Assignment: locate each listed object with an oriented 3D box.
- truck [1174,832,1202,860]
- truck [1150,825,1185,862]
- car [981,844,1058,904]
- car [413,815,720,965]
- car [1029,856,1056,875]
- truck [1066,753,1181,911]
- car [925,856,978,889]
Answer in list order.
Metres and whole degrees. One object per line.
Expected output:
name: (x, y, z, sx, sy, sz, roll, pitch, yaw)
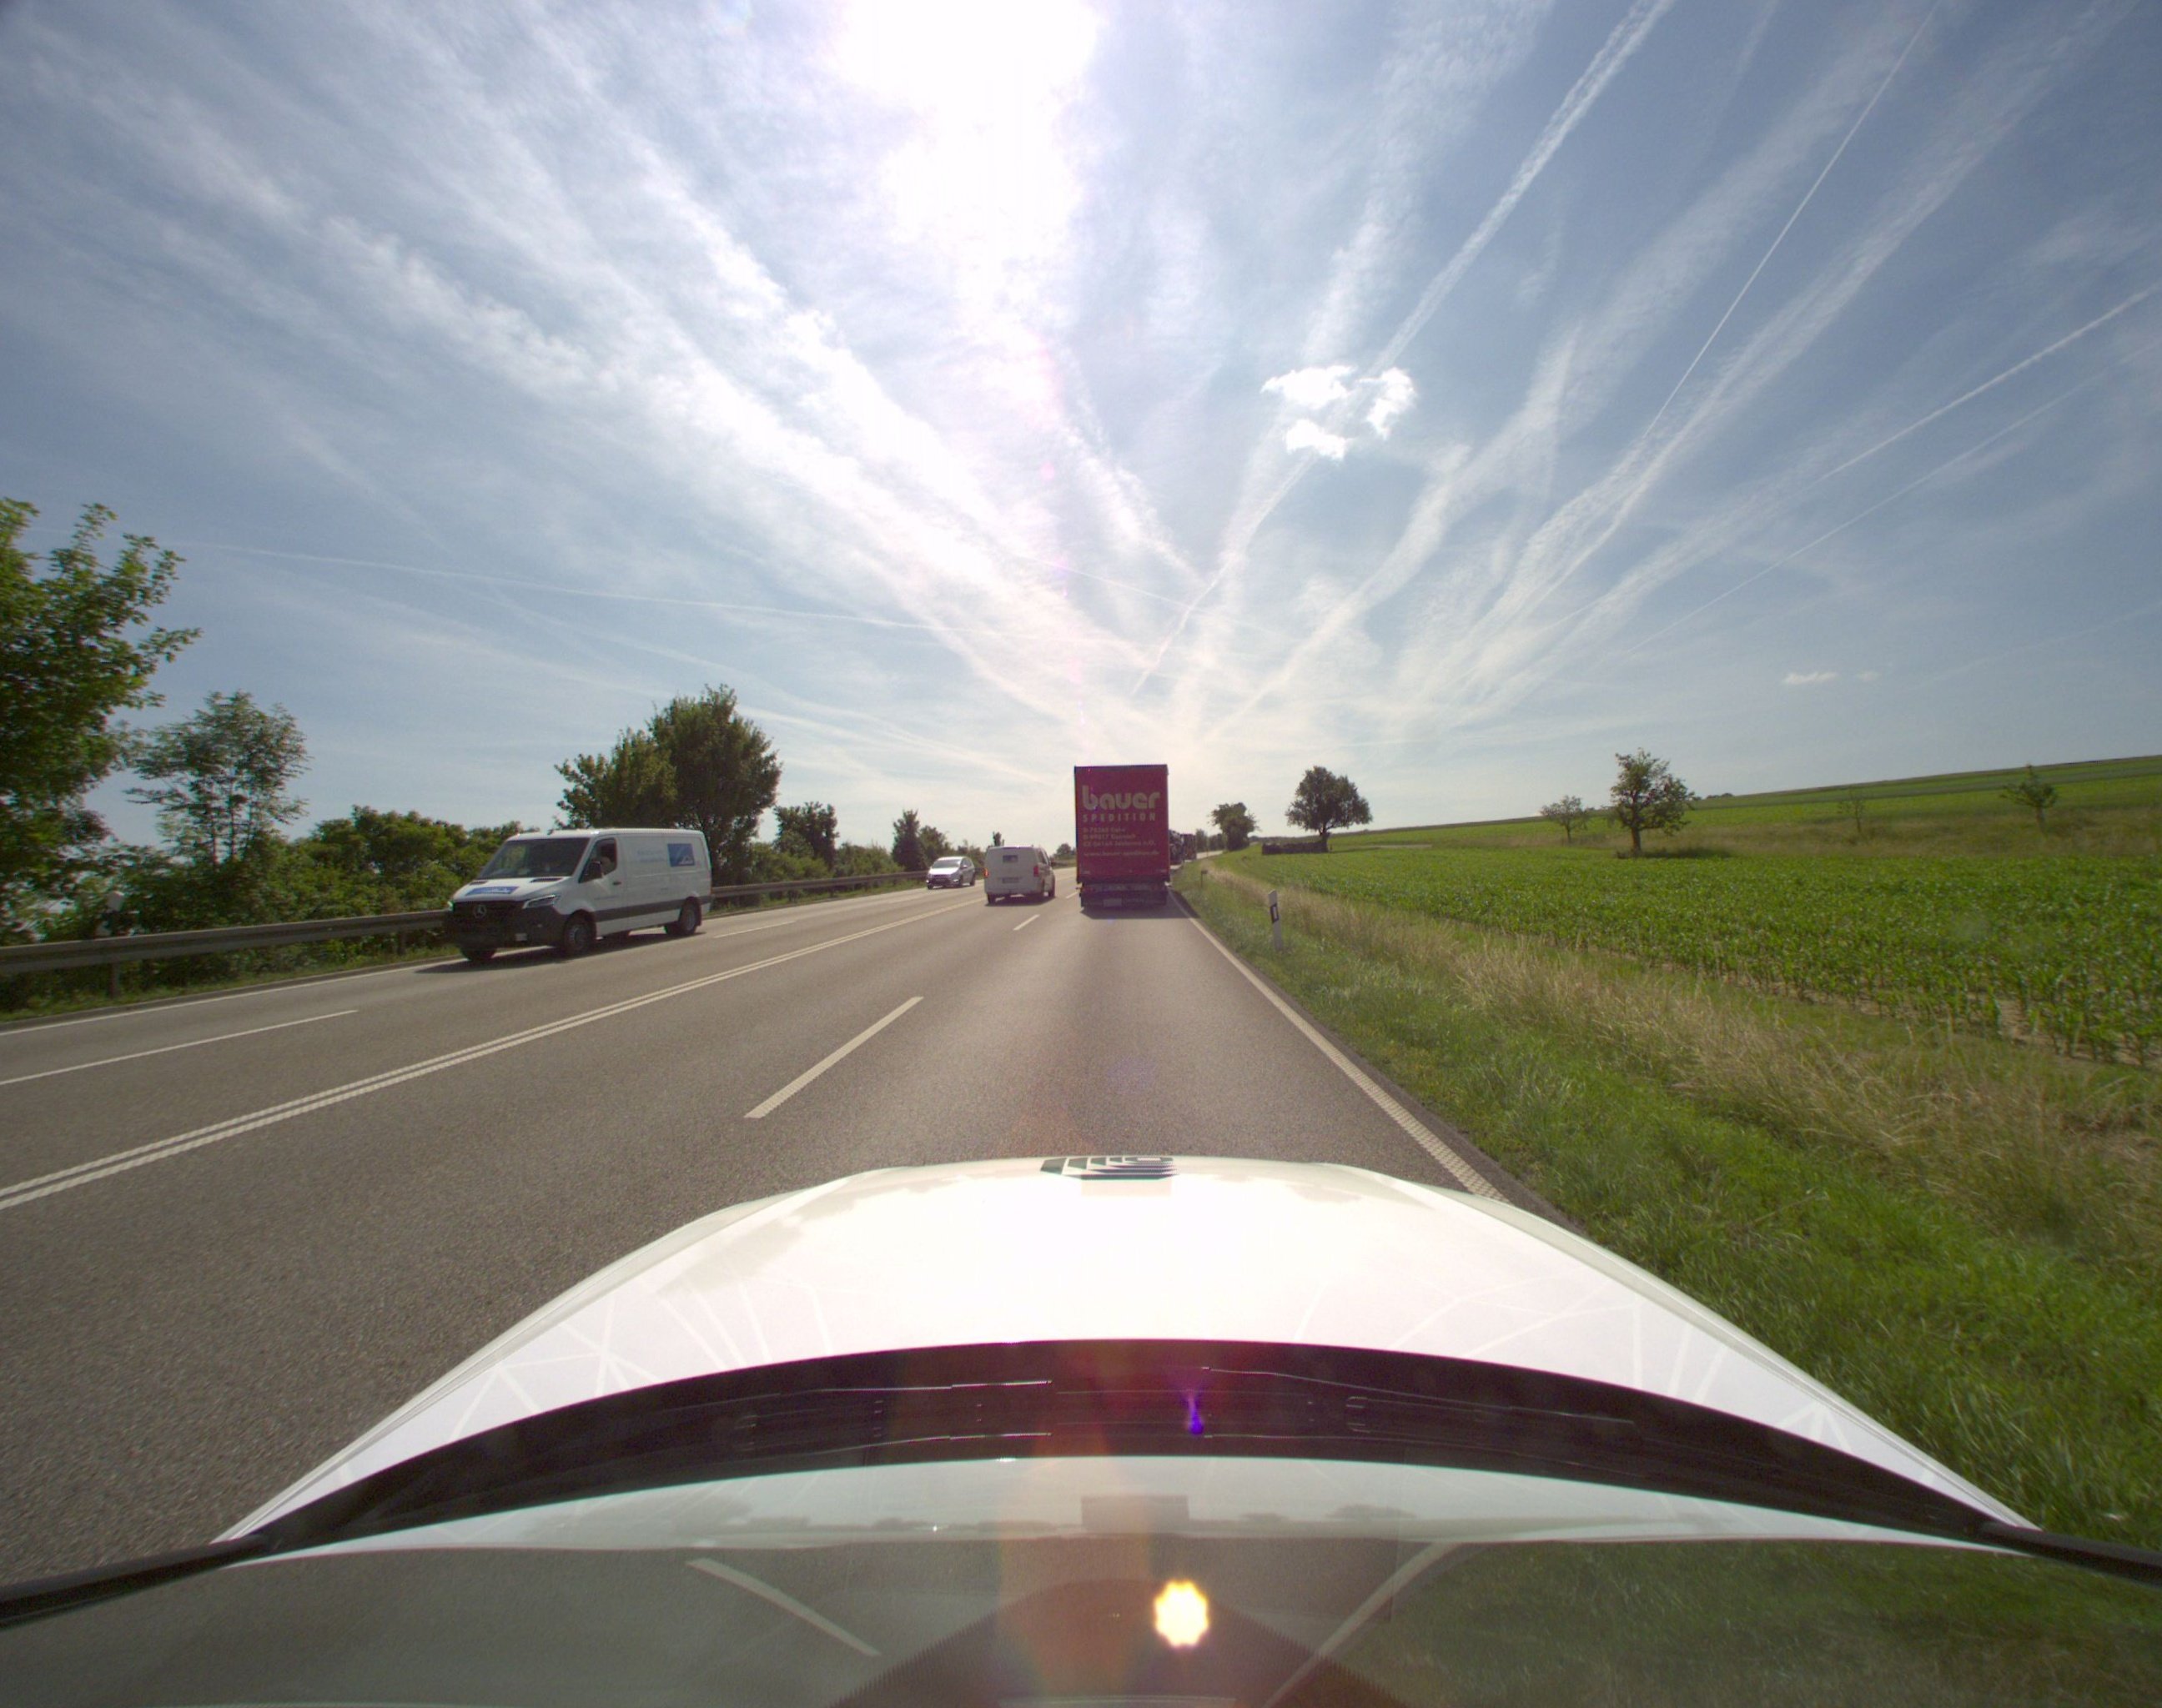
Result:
truck: (17.057, -1.226, 128.917, 3.027, 3.910, 18.454, -2, 0, 11)
truck: (10.306, -1.161, 95.690, 3.029, 3.910, 15.656, -2, 0, 9)
car: (-2.033, 0.641, 28.759, 1.897, 1.884, 5.437, -2, 0, 4)
car: (-9.717, 0.591, 16.234, 2.080, 2.395, 5.849, -2, 0, 3)
car: (-3.187, 0.956, 68.149, 1.710, 1.461, 4.220, -2, 0, 4)
truck: (1.481, -0.584, 30.145, 2.995, 4.180, 16.723, -1, 0, 2)
car: (-6.972, 0.962, 44.279, 1.805, 1.568, 4.688, -2, 0, 4)
